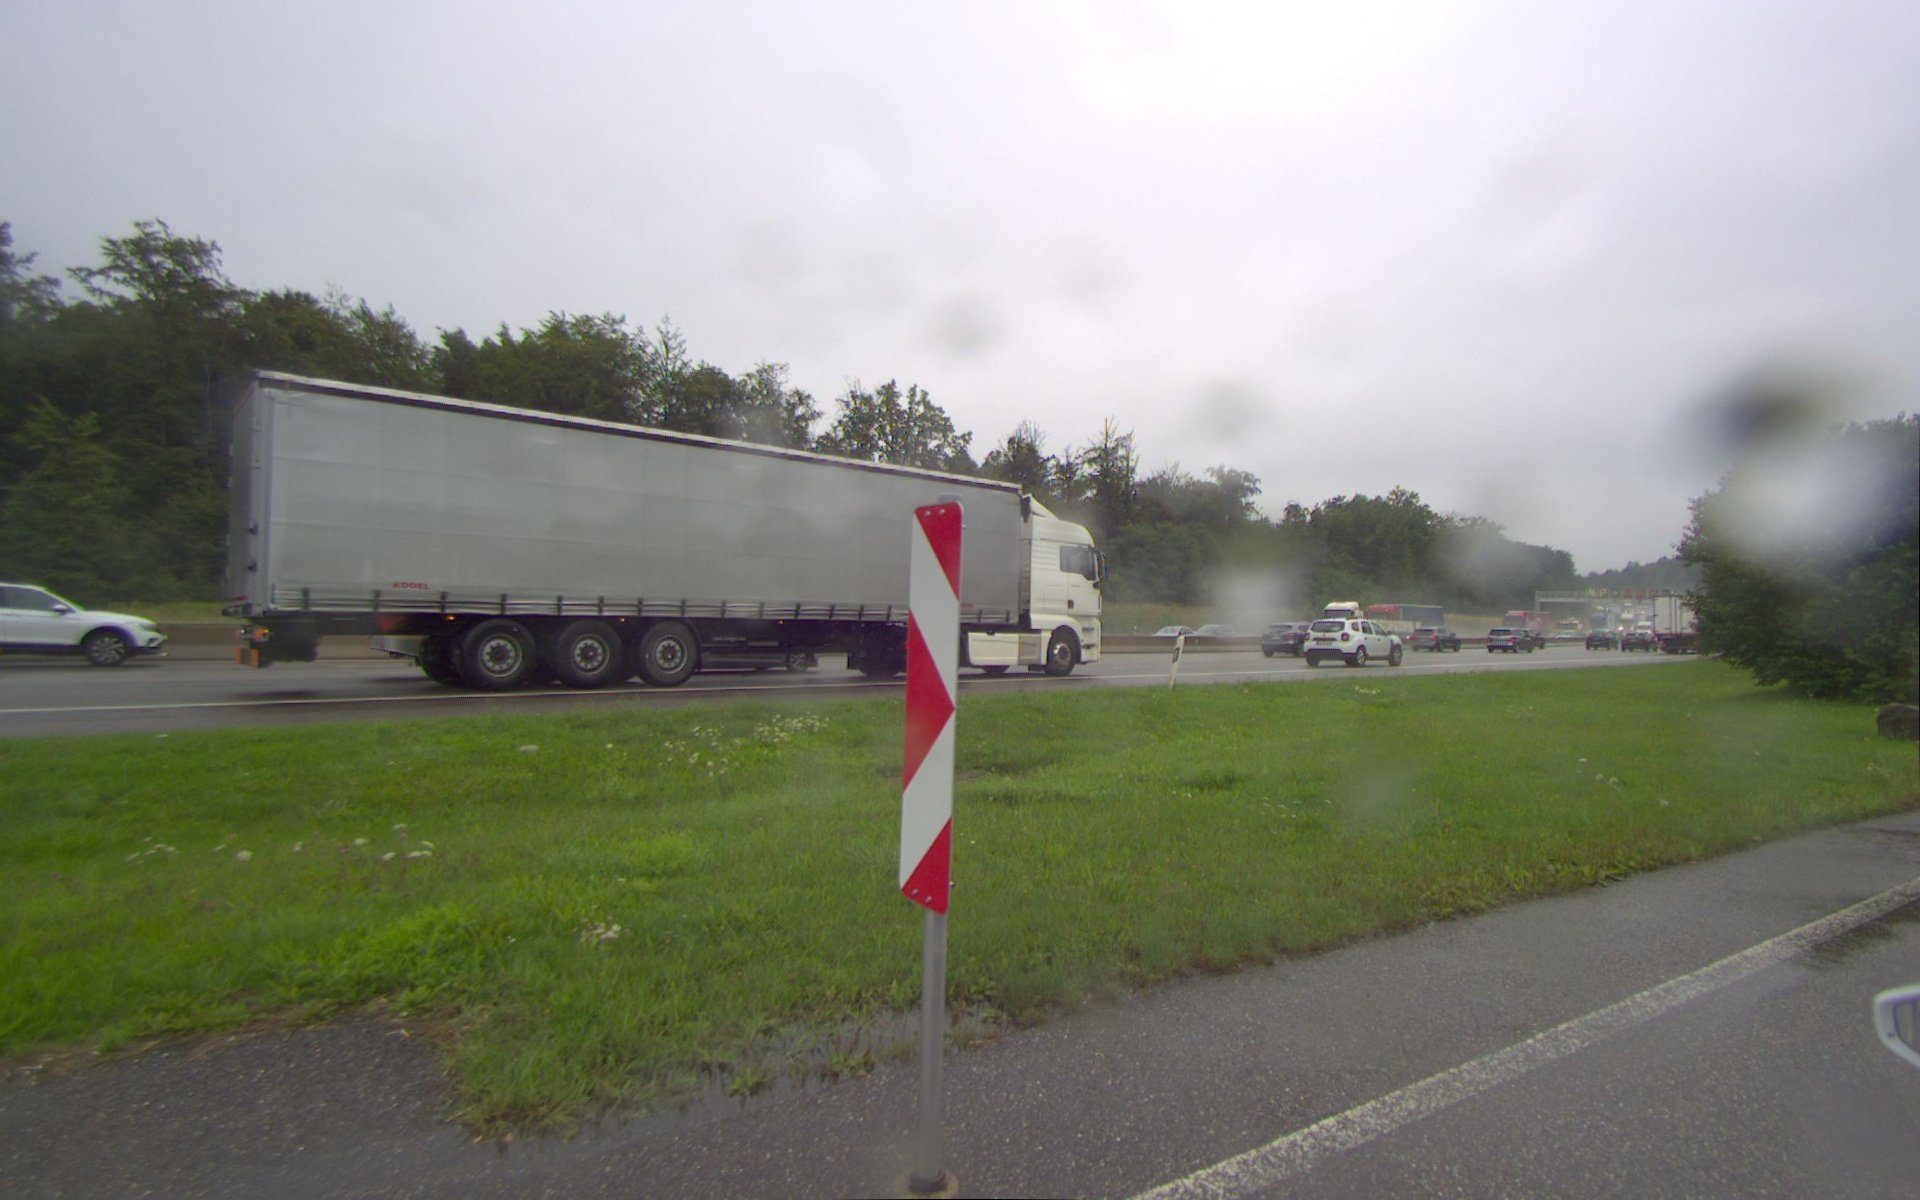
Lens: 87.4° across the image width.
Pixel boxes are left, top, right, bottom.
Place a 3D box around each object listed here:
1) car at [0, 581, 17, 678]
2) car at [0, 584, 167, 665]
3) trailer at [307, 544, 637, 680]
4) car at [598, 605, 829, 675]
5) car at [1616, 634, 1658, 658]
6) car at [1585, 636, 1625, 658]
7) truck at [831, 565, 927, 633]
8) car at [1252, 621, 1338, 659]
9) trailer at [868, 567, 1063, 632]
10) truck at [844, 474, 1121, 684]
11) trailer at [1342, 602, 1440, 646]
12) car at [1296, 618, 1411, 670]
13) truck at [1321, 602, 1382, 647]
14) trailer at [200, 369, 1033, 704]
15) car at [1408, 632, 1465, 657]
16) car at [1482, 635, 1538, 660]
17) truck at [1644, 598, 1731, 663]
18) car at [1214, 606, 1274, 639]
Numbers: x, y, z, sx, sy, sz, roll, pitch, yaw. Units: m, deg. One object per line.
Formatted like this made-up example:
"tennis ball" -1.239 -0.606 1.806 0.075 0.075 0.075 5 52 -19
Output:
"car" -17.751 0.398 15.488 4.492 1.560 1.977 3 -3 -40
"car" -18.824 0.487 20.164 4.492 1.560 1.977 2 -2 -40
"trailer" -8.932 0.296 18.701 5.140 2.184 2.110 2 -3 -42
"car" -5.253 0.867 21.804 4.547 1.366 1.829 2 -3 -42
"car" 50.850 3.449 75.401 3.819 1.759 1.759 3 -2 -42
"car" 52.583 3.813 81.864 4.069 1.759 1.760 2 -3 -42
"truck" -4.589 -0.082 57.518 4.727 3.582 2.689 0 4 -42
"car" 15.469 1.855 46.283 4.428 1.685 1.907 3 -2 -43
"trailer" 0.696 -0.071 62.416 13.957 3.587 2.698 0 4 -43
"truck" 0.633 -0.276 22.590 5.891 4.105 2.846 3 -3 -42
"trailer" 41.256 2.205 95.671 14.561 3.730 2.591 0 3 -42
"car" 13.066 1.445 33.270 4.290 1.607 1.771 2 -3 -41
"truck" 35.178 2.137 90.164 5.947 3.719 2.598 0 3 -42
"trailer" -4.562 -0.481 17.855 14.015 4.034 2.869 3 -3 -42
"car" 31.240 2.930 65.780 4.423 1.594 1.704 3 -2 -40
"car" 36.338 3.121 66.334 4.298 1.547 1.774 2 -2 -39
"truck" 51.944 2.261 71.497 11.760 4.349 2.822 3 -2 -43
"car" 20.266 1.547 71.634 3.966 2.041 1.977 0 8 -39
